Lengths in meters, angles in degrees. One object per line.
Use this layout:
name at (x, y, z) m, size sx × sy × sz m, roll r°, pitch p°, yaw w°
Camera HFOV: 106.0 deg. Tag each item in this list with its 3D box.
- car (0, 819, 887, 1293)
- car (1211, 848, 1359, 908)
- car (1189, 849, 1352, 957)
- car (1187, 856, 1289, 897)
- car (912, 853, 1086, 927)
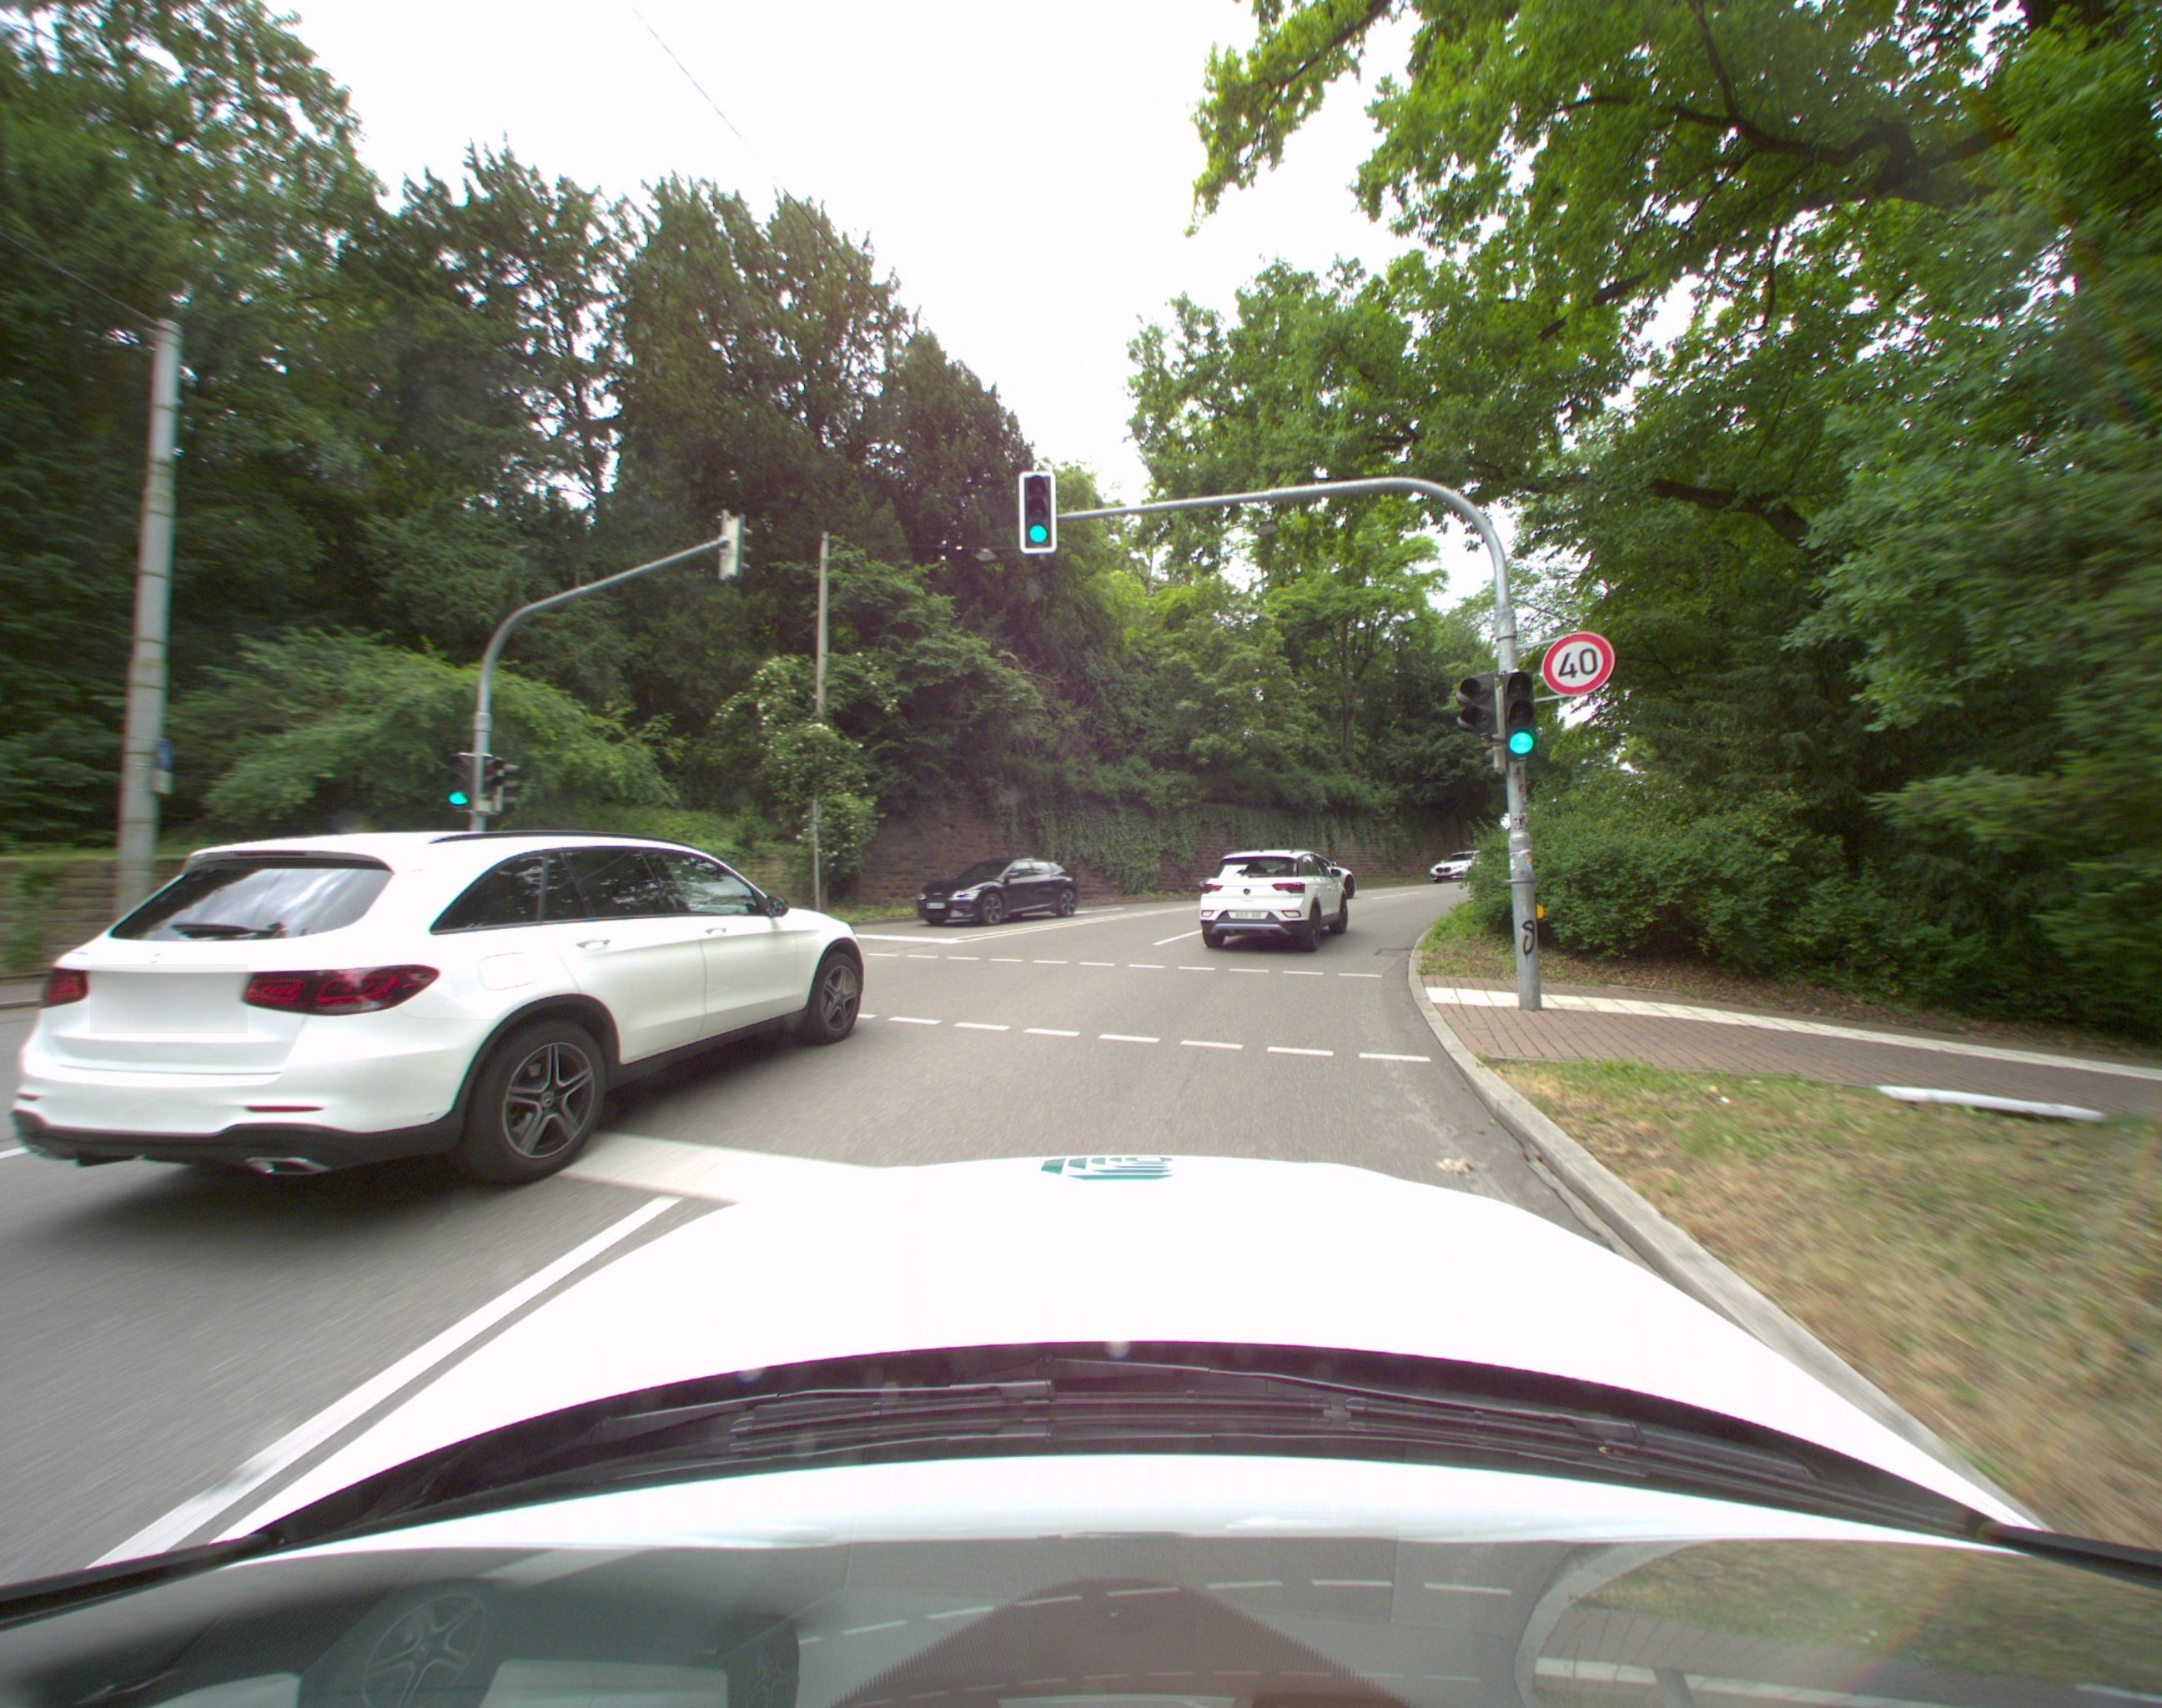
car at (-3.078, 0.678, 5.242) m, size 1.848 × 1.605 × 4.683 m, roll 1°, pitch 0°, yaw 9°
car at (5.941, 0.617, 23.408) m, size 4.804 × 1.534 × 1.848 m, roll -1°, pitch -1°, yaw -44°
car at (3.426, 0.699, 14.048) m, size 1.738 × 1.553 × 4.363 m, roll -1°, pitch 0°, yaw 27°
car at (5.804, 0.810, 29.906) m, size 3.772 × 1.418 × 1.593 m, roll 0°, pitch -2°, yaw -38°
car at (-1.825, 0.791, 19.601) m, size 1.615 × 1.543 × 4.426 m, roll -3°, pitch -1°, yaw 35°
